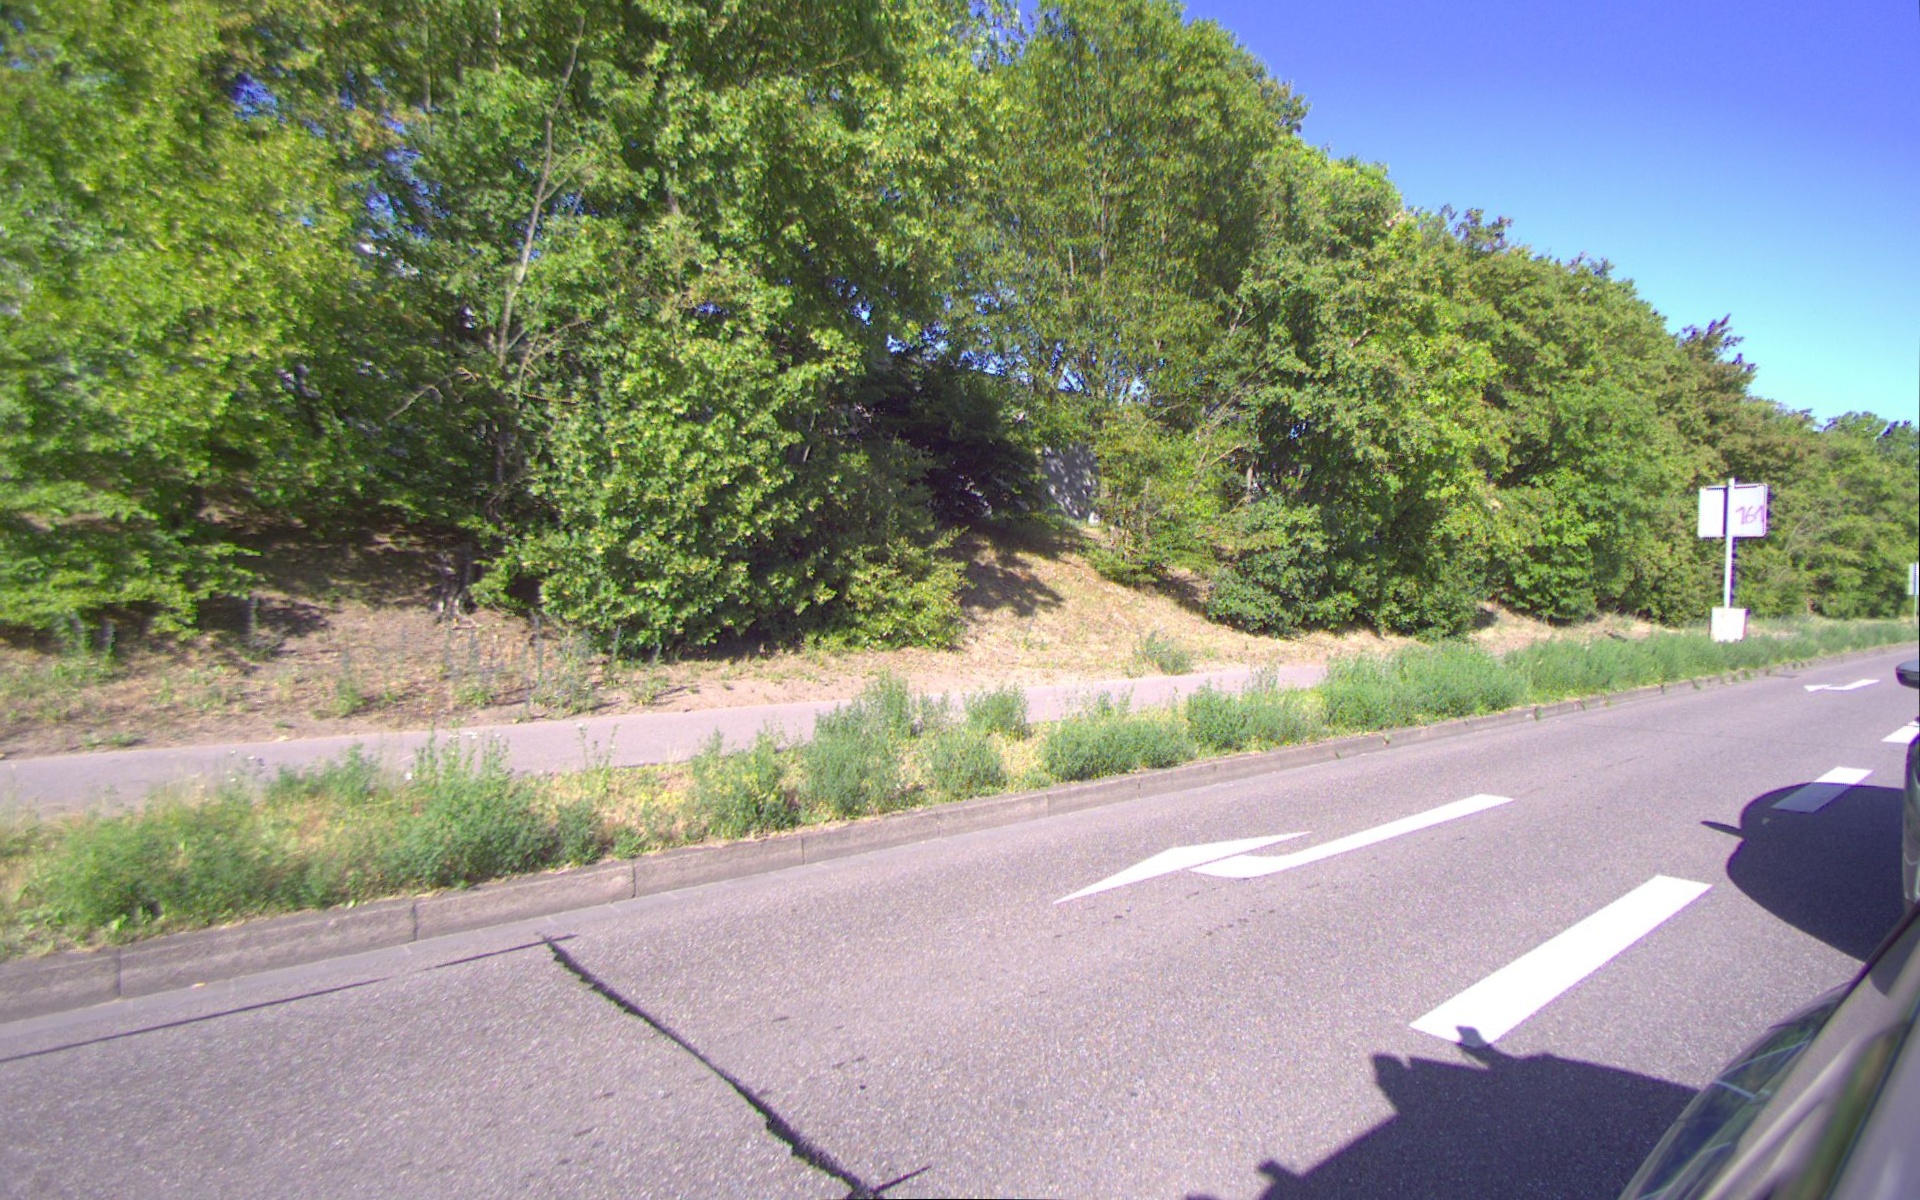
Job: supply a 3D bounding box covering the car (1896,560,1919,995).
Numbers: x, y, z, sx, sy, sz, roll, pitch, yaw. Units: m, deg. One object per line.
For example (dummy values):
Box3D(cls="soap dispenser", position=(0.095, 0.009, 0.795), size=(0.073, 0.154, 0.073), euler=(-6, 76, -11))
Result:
Box3D(cls="car", position=(5.718, 0.656, 4.527), size=(4.327, 1.603, 1.860), euler=(0, 0, -42))
